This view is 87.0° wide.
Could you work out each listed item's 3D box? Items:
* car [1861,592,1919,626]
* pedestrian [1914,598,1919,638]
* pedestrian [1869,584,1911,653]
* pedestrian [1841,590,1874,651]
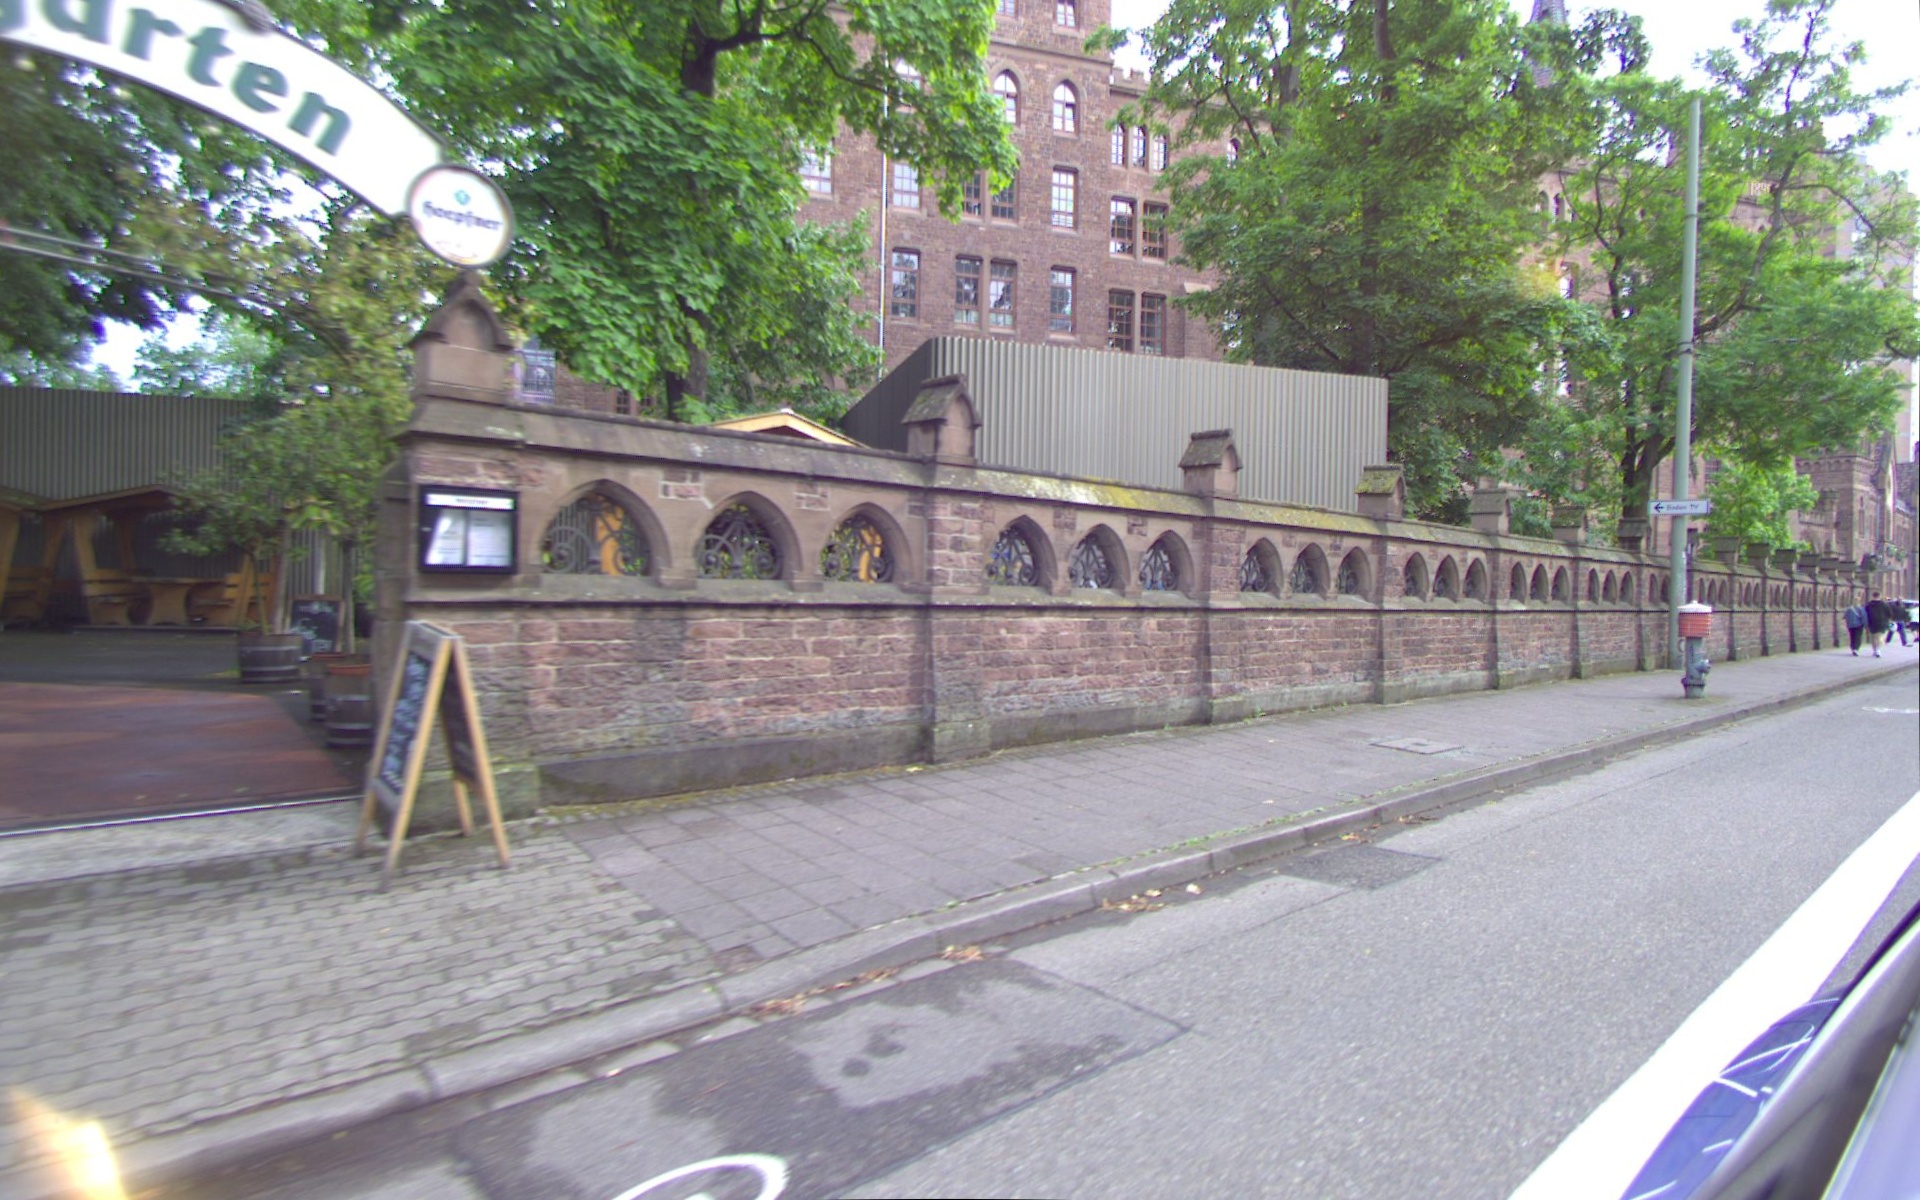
[{"bbox_3d":[51.476,0.539,54.419,1.959,1.637,4.009,1,4,-29],"label":"car"},{"bbox_3d":[42.262,0.802,44.209,0.981,1.733,0.668,0,4,-43],"label":"pedestrian"},{"bbox_3d":[26.035,0.497,28.331,0.883,1.867,0.722,0,2,-43],"label":"pedestrian"},{"bbox_3d":[25.472,0.578,28.716,0.759,1.675,0.558,1,2,-43],"label":"pedestrian"}]
